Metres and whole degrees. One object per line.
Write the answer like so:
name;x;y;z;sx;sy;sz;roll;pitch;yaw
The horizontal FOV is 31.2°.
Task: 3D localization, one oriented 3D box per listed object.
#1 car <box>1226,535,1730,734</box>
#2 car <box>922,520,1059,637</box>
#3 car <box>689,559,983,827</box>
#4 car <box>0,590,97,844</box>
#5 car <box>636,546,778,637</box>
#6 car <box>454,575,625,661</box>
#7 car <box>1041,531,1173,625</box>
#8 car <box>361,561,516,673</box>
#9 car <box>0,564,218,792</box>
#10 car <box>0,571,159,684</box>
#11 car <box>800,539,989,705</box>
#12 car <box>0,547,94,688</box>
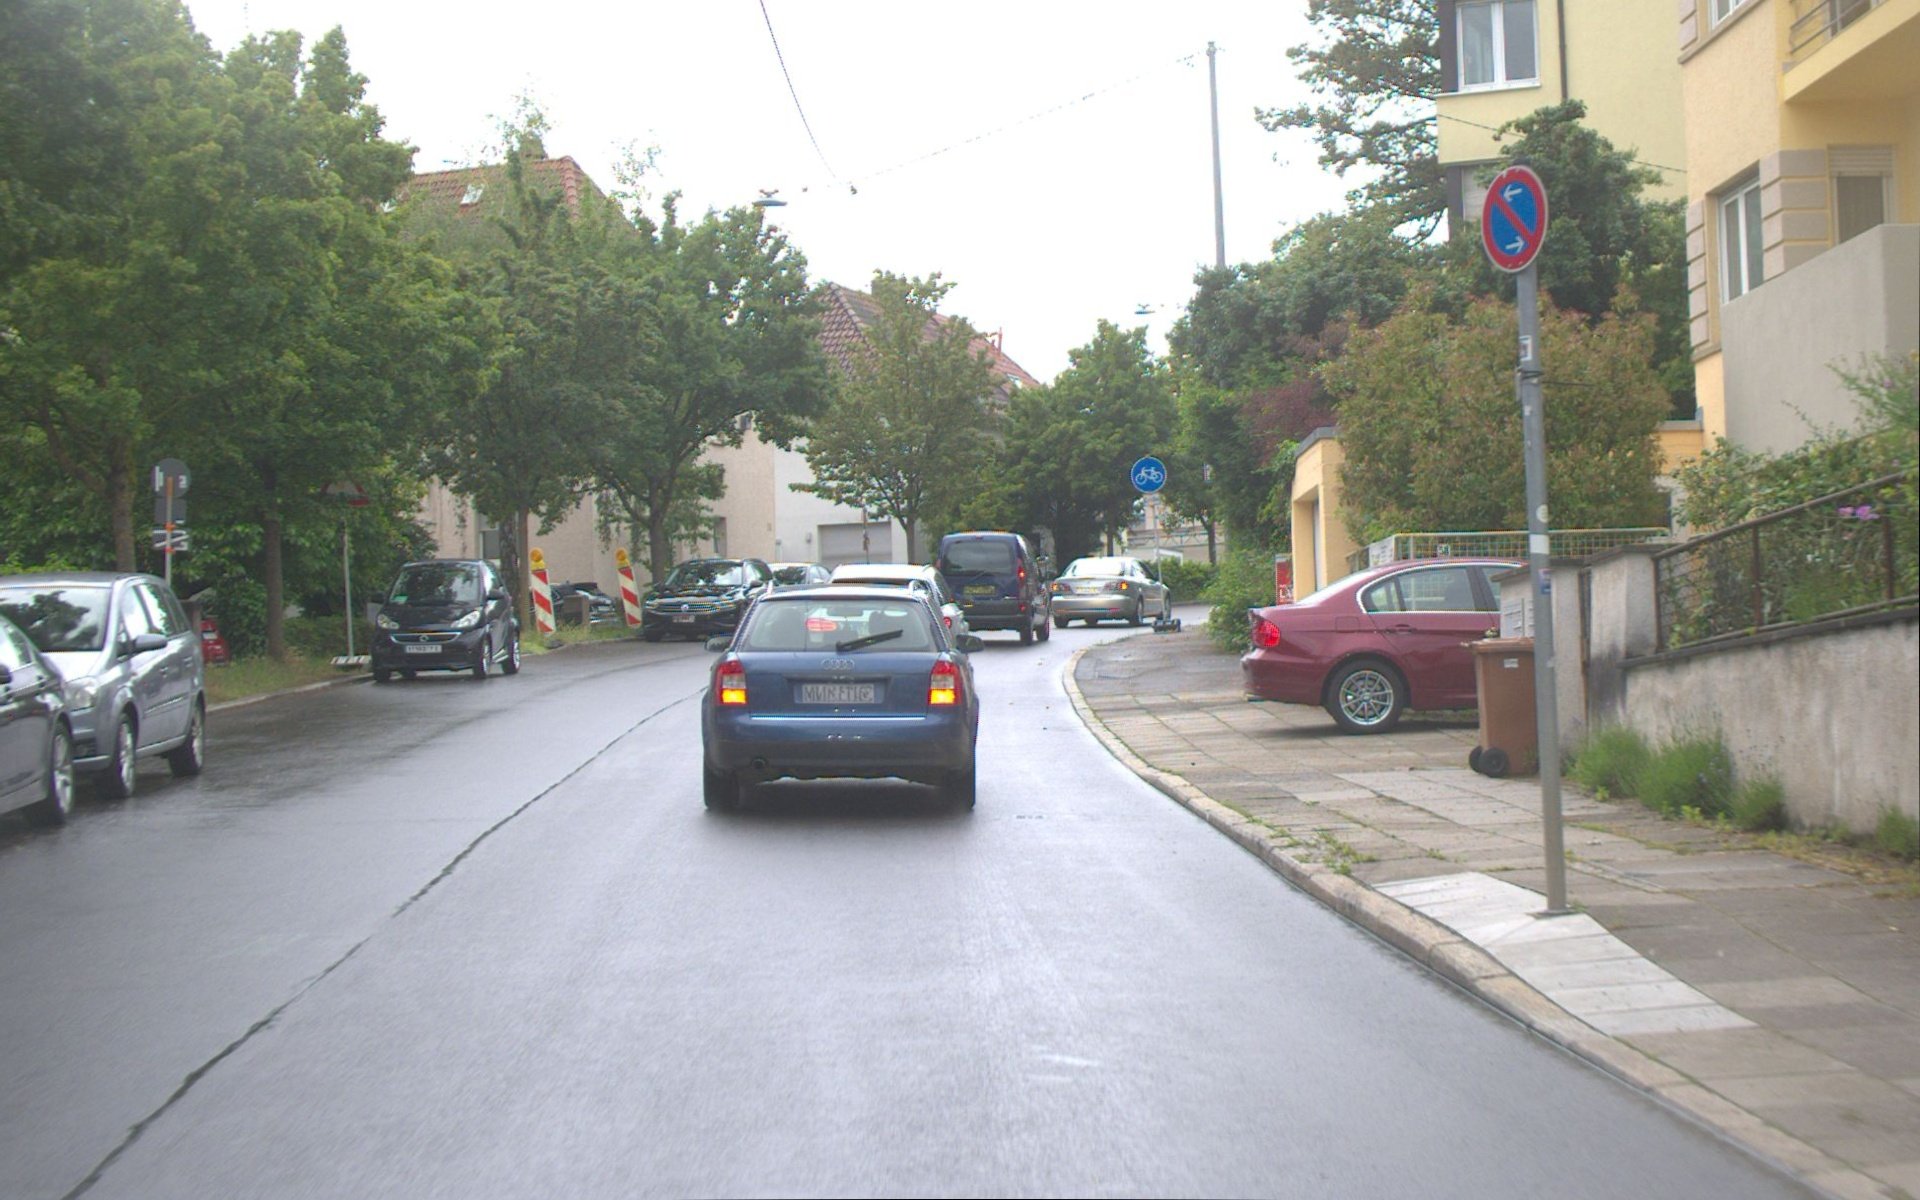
car;4.291;0.268;28.949;3.987;1.461;1.739;-2;2;3
car;0.543;-0.398;57.045;1.734;1.762;4.234;2;2;7
car;-0.815;0.541;22.776;1.733;1.461;4.001;2;2;-2
car;-6.446;0.698;20.273;1.768;1.468;4.008;-2;0;-2
car;-4.521;-0.173;62.012;1.734;1.461;3.999;2;2;7
car;-9.109;0.387;74.493;3.212;1.367;1.479;-7;2;15
car;3.040;-0.481;70.332;1.735;1.762;4.232;2;2;16
car;-6.784;0.198;44.974;1.475;1.291;3.221;2;2;0
car;-6.791;0.545;25.463;1.768;1.534;4.008;-2;0;-2
car;-13.570;0.460;50.346;3.210;1.367;1.480;-7;2;0
car;-0.700;0.196;38.944;1.975;1.629;4.235;2;2;0
car;-13.493;0.353;46.076;3.210;1.734;1.480;-7;2;0
